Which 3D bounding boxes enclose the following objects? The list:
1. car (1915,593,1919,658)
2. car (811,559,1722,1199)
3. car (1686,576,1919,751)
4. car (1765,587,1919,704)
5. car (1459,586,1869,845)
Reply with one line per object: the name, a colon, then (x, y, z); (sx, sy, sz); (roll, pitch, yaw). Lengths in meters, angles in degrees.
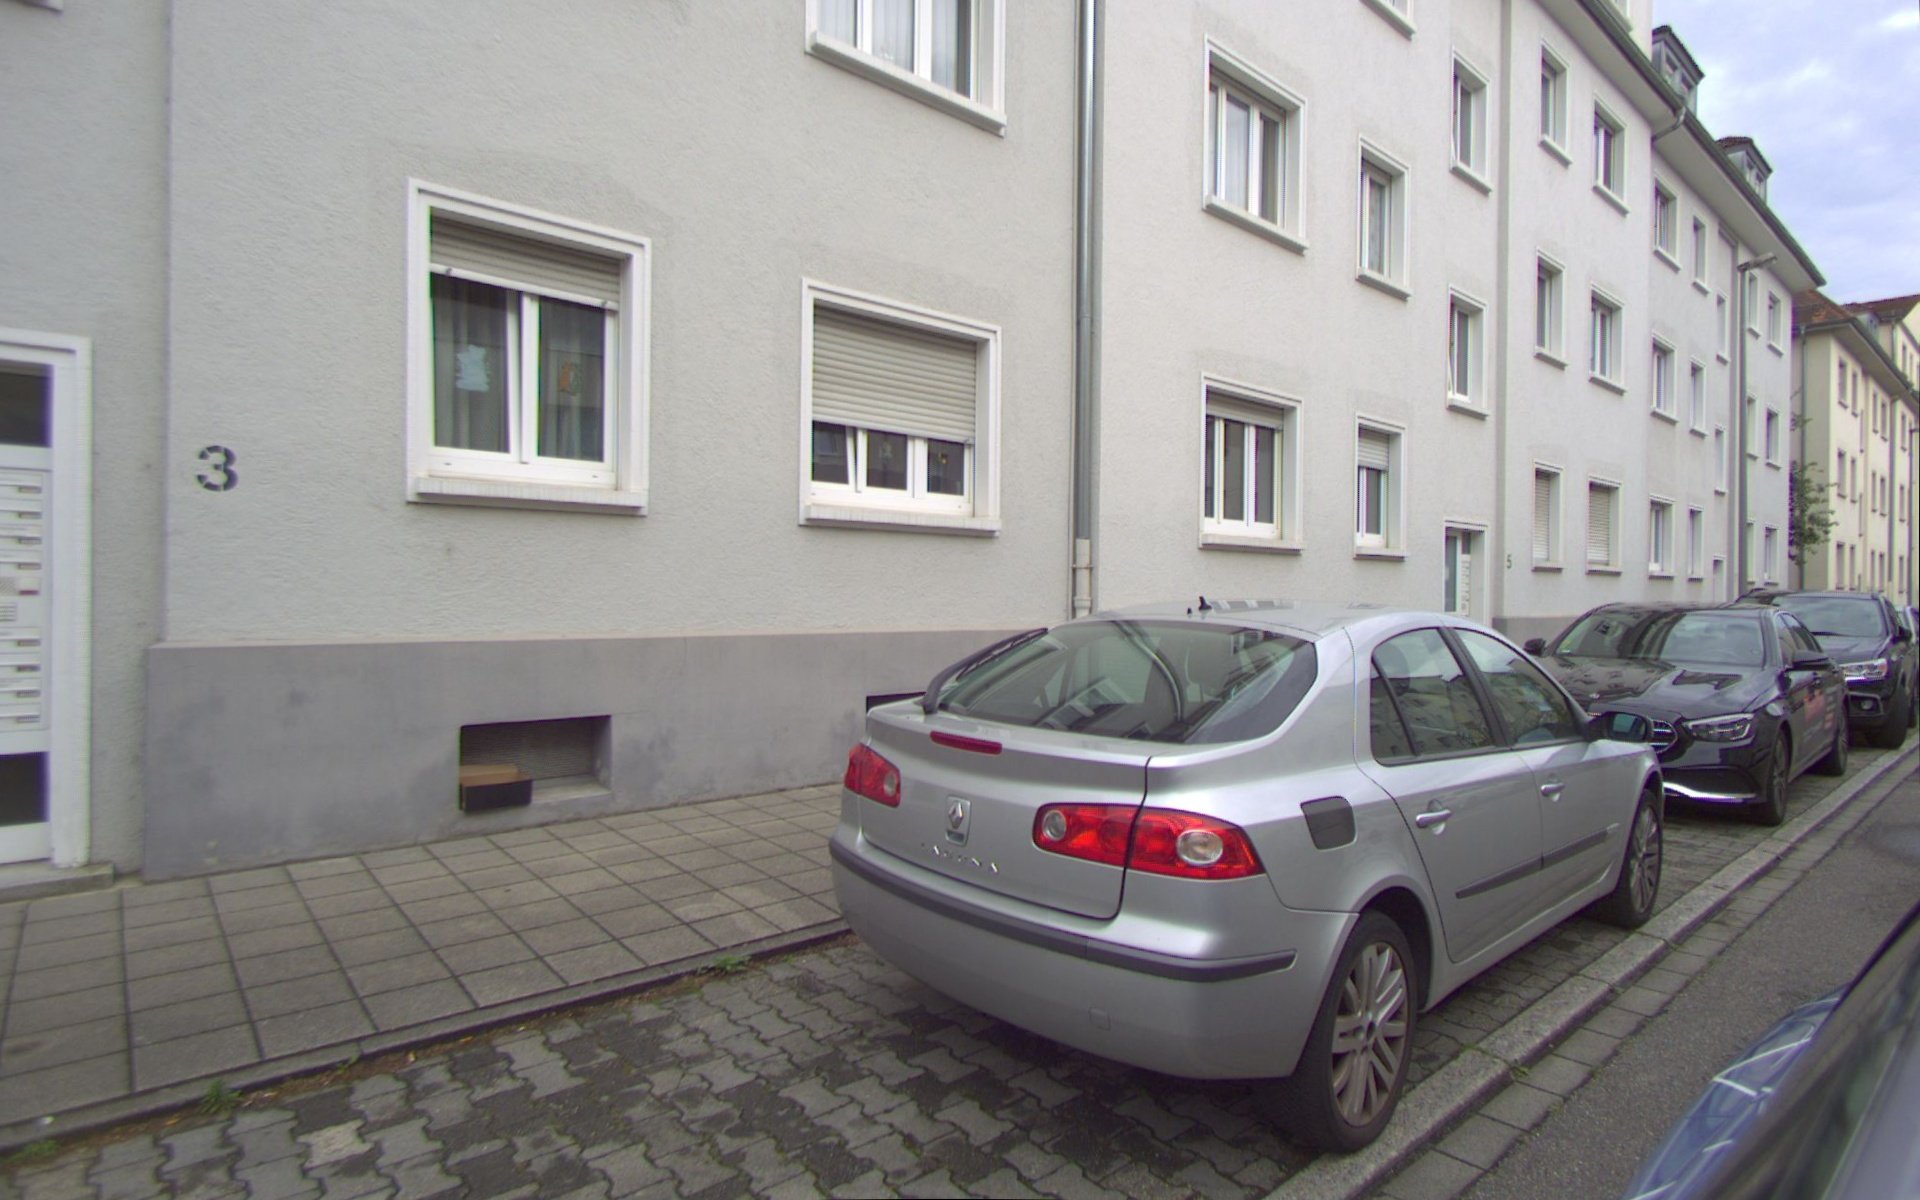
car: (25.104, 0.635, 25.164); (3.615, 1.566, 1.735); (0, 1, -43)
car: (1.676, 0.642, 4.295); (4.355, 1.481, 1.735); (0, 1, -43)
car: (9.861, 0.583, 11.486); (4.089, 1.619, 1.850); (0, 1, -43)
car: (13.424, 0.597, 14.968); (3.691, 1.505, 1.735); (0, 1, -41)
car: (5.711, 0.669, 7.982); (4.249, 1.481, 1.784); (0, 1, -43)
